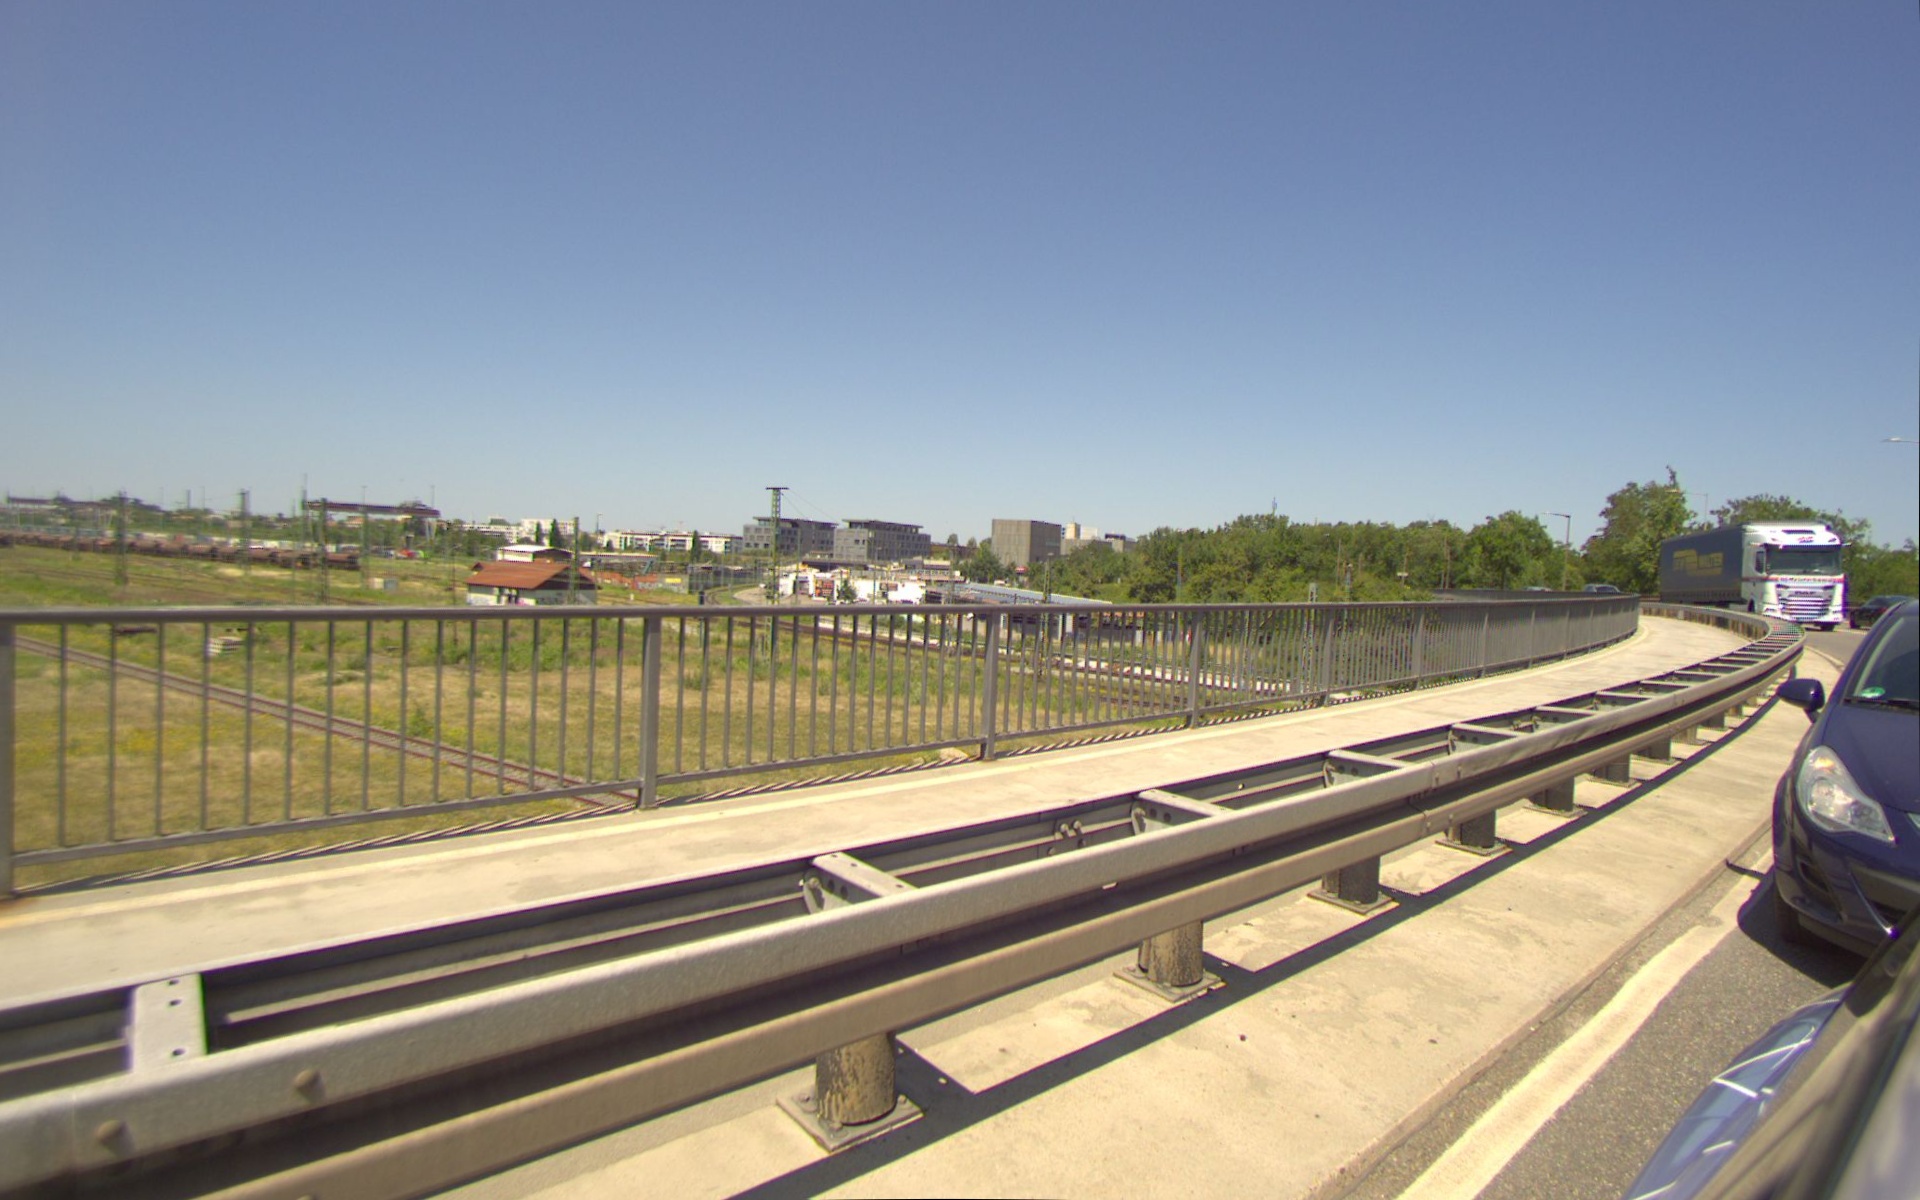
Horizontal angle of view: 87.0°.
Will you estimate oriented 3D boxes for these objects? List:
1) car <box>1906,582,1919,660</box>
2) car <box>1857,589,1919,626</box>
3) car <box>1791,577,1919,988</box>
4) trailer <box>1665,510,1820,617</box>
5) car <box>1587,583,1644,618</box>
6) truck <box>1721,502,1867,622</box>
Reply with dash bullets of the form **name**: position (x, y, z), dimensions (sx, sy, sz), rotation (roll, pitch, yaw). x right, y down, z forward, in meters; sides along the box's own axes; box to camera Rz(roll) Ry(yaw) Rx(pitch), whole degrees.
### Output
- **car**: position (18.520, 0.395, 18.147), dimensions (1.785, 1.473, 4.463), rotation (0, 0, 37)
- **car**: position (35.623, 0.254, 38.355), dimensions (1.670, 1.324, 3.930), rotation (1, 1, 30)
- **car**: position (5.118, 0.636, 4.660), dimensions (1.641, 1.457, 3.936), rotation (1, 1, 45)
- **trailer**: position (35.580, -1.616, 46.644), dimensions (2.672, 4.287, 12.612), rotation (0, 1, 24)
- **car**: position (42.971, 0.053, 66.437), dimensions (1.972, 2.040, 3.976), rotation (-2, -4, 17)
- **truck**: position (32.569, -1.444, 39.840), dimensions (2.667, 4.281, 6.784), rotation (0, 1, 24)
